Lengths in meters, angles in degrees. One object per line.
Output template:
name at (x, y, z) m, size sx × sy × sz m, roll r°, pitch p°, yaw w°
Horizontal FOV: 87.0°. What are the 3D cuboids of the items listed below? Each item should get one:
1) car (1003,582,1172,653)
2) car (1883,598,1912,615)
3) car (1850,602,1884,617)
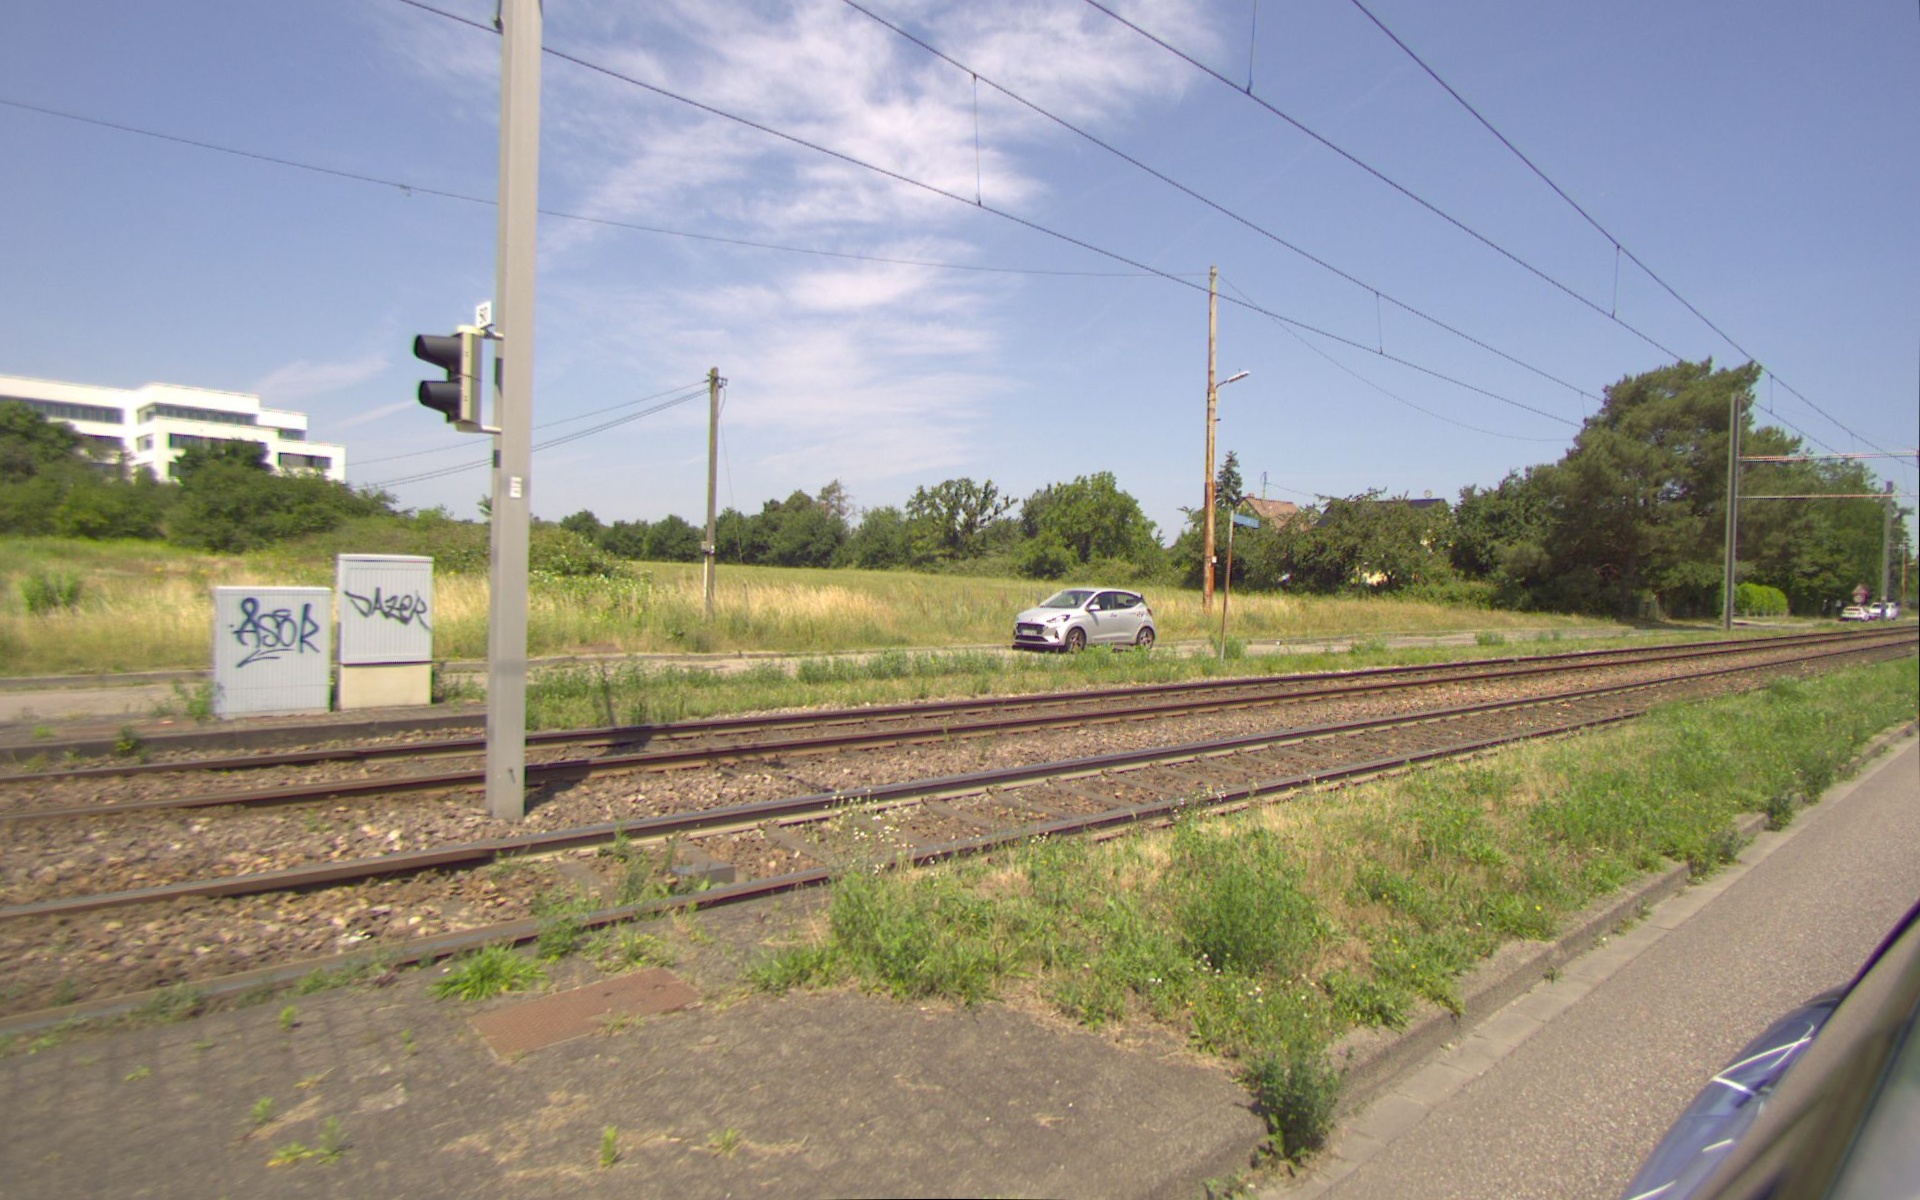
car at (3.029, 0.370, 23.651) m, size 3.930 × 1.507 × 1.716 m, roll 0°, pitch 1°, yaw -40°
car at (101.712, 0.685, 109.790) m, size 4.507 × 1.849 × 1.862 m, roll 0°, pitch 1°, yaw -41°
car at (86.947, 0.883, 96.994) m, size 3.930 × 1.401 × 1.922 m, roll 0°, pitch 1°, yaw -41°
